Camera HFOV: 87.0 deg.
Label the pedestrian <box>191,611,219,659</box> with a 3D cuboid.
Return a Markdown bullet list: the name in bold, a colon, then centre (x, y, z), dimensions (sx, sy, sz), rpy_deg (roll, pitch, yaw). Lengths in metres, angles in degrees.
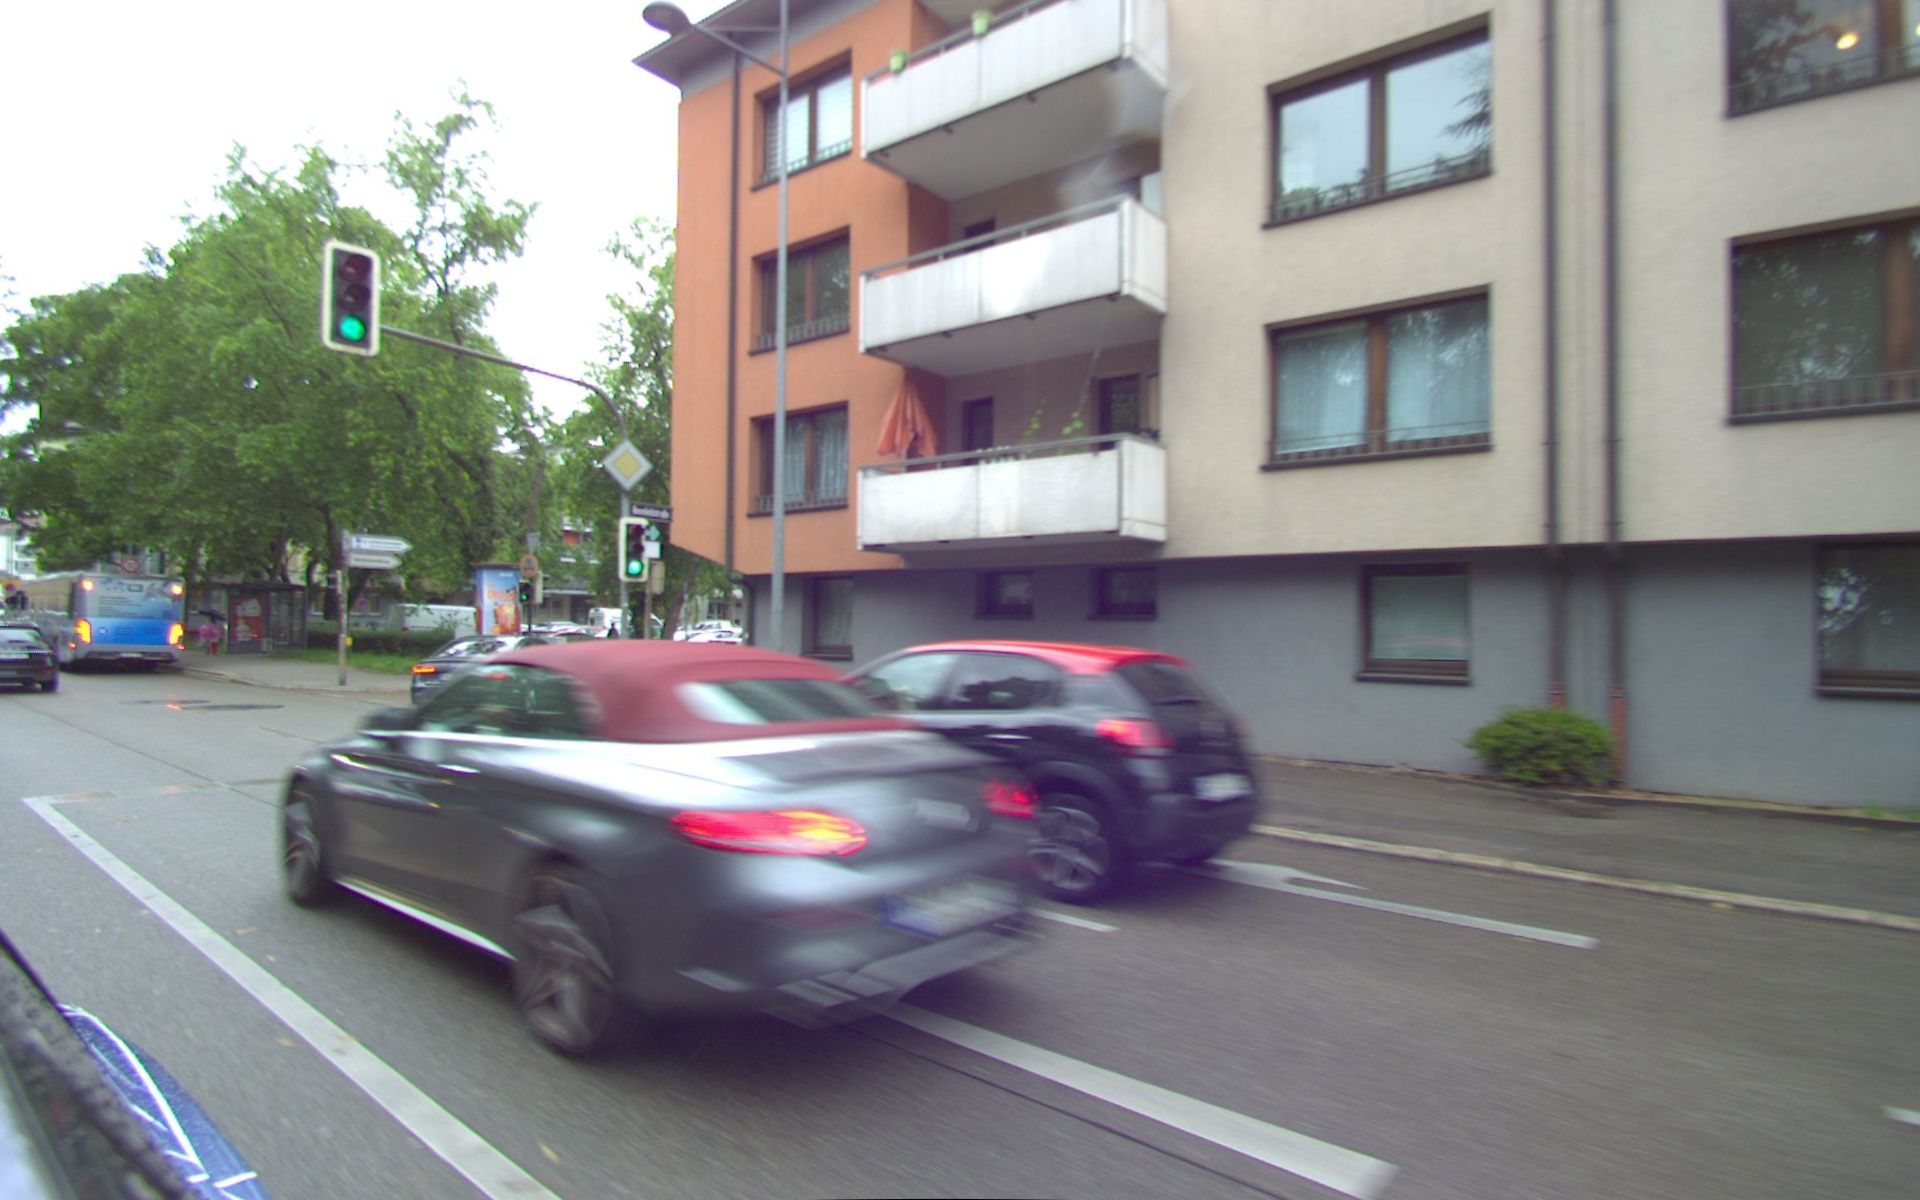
- **pedestrian**: centre (-28.895, 1.324, 38.729), dimensions (0.687, 1.782, 0.702), rpy_deg (-1, 0, 41)

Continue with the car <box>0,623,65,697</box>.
- **car**: centre (-20.631, 1.233, 21.675), dimensions (4.492, 1.469, 1.776), rpy_deg (-2, -4, 44)

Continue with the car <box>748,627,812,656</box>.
- **car**: centre (-12.617, 2.918, 70.994), dimensions (1.702, 1.937, 4.276), rpy_deg (-2, -3, 42)

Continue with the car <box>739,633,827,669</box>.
- **car**: centre (-7.890, 2.281, 45.382), dimensions (1.699, 1.550, 3.784), rpy_deg (-1, -3, 34)

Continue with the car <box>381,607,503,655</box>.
- **car**: centre (-21.946, 1.339, 43.033), dimensions (1.701, 1.937, 4.281), rpy_deg (-1, -3, 38)

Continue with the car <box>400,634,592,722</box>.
- **car**: centre (-8.620, 1.418, 19.332), dimensions (1.791, 1.426, 4.812), rpy_deg (2, -3, -5)

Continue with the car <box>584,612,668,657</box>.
- **car**: centre (-20.526, 2.143, 62.336), dimensions (1.999, 2.633, 4.521), rpy_deg (-2, -3, 42)

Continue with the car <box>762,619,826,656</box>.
- **car**: centre (-12.470, 2.837, 76.181), dimensions (1.999, 2.633, 4.521), rpy_deg (-2, -3, 42)

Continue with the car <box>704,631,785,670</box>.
- **car**: centre (-9.844, 2.298, 46.452), dimensions (1.695, 1.676, 3.709), rpy_deg (-1, -3, 27)

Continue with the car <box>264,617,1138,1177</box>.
- **car**: centre (-1.510, 0.853, 4.713), dimensions (4.332, 1.426, 1.775), rpy_deg (-2, -4, 41)

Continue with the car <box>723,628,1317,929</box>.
- **car**: centre (0.240, 0.979, 7.009), dimensions (3.887, 1.503, 1.669), rpy_deg (-2, -4, 41)

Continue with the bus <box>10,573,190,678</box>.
- **bus**: centre (-28.616, 0.808, 33.360), dimensions (12.078, 2.962, 2.665), rpy_deg (-1, -3, 41)

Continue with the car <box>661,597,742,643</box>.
- **car**: centre (-15.557, 1.261, 61.193), dimensions (1.995, 2.633, 4.531), rpy_deg (-1, -3, 34)
